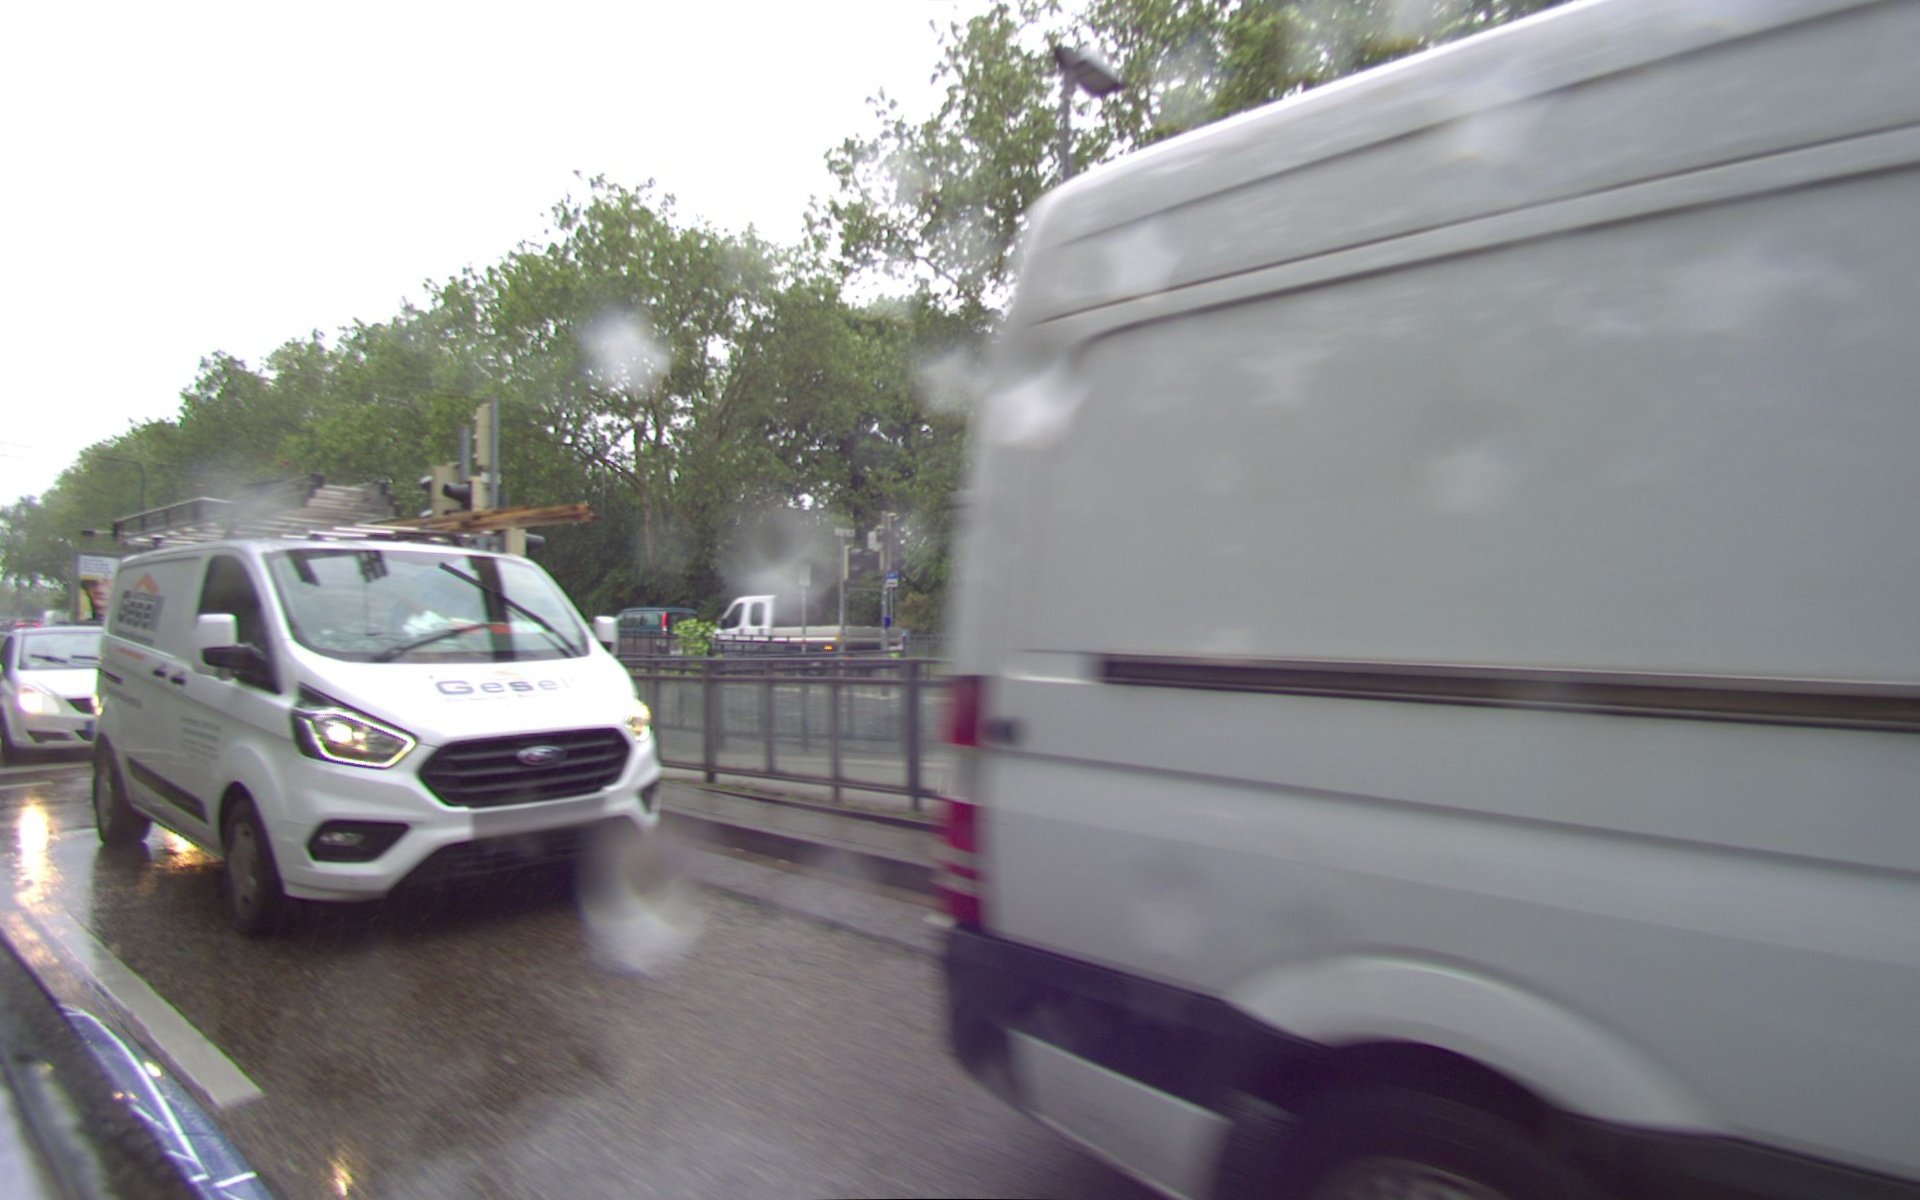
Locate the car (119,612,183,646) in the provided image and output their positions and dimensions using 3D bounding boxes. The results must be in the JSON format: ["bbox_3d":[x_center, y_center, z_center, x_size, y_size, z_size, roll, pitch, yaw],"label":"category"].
[{"bbox_3d":[-63.049,2.254,78.819,6.557,2.560,2.367,-1,-3,38],"label":"car"}]

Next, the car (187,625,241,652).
[{"bbox_3d":[-51.012,2.631,69.178,4.525,1.741,1.733,-1,-3,38],"label":"car"}]

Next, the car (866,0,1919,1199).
[{"bbox_3d":[2.843,0.097,1.242,6.110,2.576,2.306,0,0,40],"label":"car"}]

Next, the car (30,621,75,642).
[{"bbox_3d":[-76.027,2.645,84.754,4.270,1.670,2.012,-1,-3,37],"label":"car"}]

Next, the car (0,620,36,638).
[{"bbox_3d":[-88.535,2.718,94.889,4.389,1.670,1.994,-1,-3,38],"label":"car"}]

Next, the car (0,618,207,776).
[{"bbox_3d":[-10.290,0.983,11.732,3.803,1.490,1.708,0,-1,40],"label":"car"}]

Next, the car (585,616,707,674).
[{"bbox_3d":[-12.168,1.682,39.060,4.794,2.109,2.013,-1,-3,36],"label":"car"}]

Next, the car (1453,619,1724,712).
[{"bbox_3d":[11.525,1.136,18.667,3.997,1.529,1.973,-1,-2,41],"label":"car"}]

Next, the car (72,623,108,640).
[{"bbox_3d":[-79.561,2.863,92.489,4.021,1.564,1.799,-1,-3,40],"label":"car"}]

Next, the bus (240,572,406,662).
[{"bbox_3d":[-30.763,0.756,48.526,12.232,3.867,3.000,-1,0,39],"label":"bus"}]

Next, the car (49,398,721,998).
[{"bbox_3d":[-3.905,0.373,6.316,5.285,2.279,1.973,0,0,40],"label":"car"}]

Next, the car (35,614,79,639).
[{"bbox_3d":[-91.700,2.664,102.758,6.133,2.464,2.306,0,-2,39],"label":"car"}]

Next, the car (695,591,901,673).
[{"bbox_3d":[-4.575,0.832,27.877,6.110,2.029,2.162,-1,-1,40],"label":"car"}]

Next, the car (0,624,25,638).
[{"bbox_3d":[-112.498,3.652,119.755,4.379,1.564,2.014,-1,-3,38],"label":"car"}]

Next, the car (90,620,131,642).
[{"bbox_3d":[-74.726,2.686,89.019,4.636,1.876,1.937,-1,-3,40],"label":"car"}]
